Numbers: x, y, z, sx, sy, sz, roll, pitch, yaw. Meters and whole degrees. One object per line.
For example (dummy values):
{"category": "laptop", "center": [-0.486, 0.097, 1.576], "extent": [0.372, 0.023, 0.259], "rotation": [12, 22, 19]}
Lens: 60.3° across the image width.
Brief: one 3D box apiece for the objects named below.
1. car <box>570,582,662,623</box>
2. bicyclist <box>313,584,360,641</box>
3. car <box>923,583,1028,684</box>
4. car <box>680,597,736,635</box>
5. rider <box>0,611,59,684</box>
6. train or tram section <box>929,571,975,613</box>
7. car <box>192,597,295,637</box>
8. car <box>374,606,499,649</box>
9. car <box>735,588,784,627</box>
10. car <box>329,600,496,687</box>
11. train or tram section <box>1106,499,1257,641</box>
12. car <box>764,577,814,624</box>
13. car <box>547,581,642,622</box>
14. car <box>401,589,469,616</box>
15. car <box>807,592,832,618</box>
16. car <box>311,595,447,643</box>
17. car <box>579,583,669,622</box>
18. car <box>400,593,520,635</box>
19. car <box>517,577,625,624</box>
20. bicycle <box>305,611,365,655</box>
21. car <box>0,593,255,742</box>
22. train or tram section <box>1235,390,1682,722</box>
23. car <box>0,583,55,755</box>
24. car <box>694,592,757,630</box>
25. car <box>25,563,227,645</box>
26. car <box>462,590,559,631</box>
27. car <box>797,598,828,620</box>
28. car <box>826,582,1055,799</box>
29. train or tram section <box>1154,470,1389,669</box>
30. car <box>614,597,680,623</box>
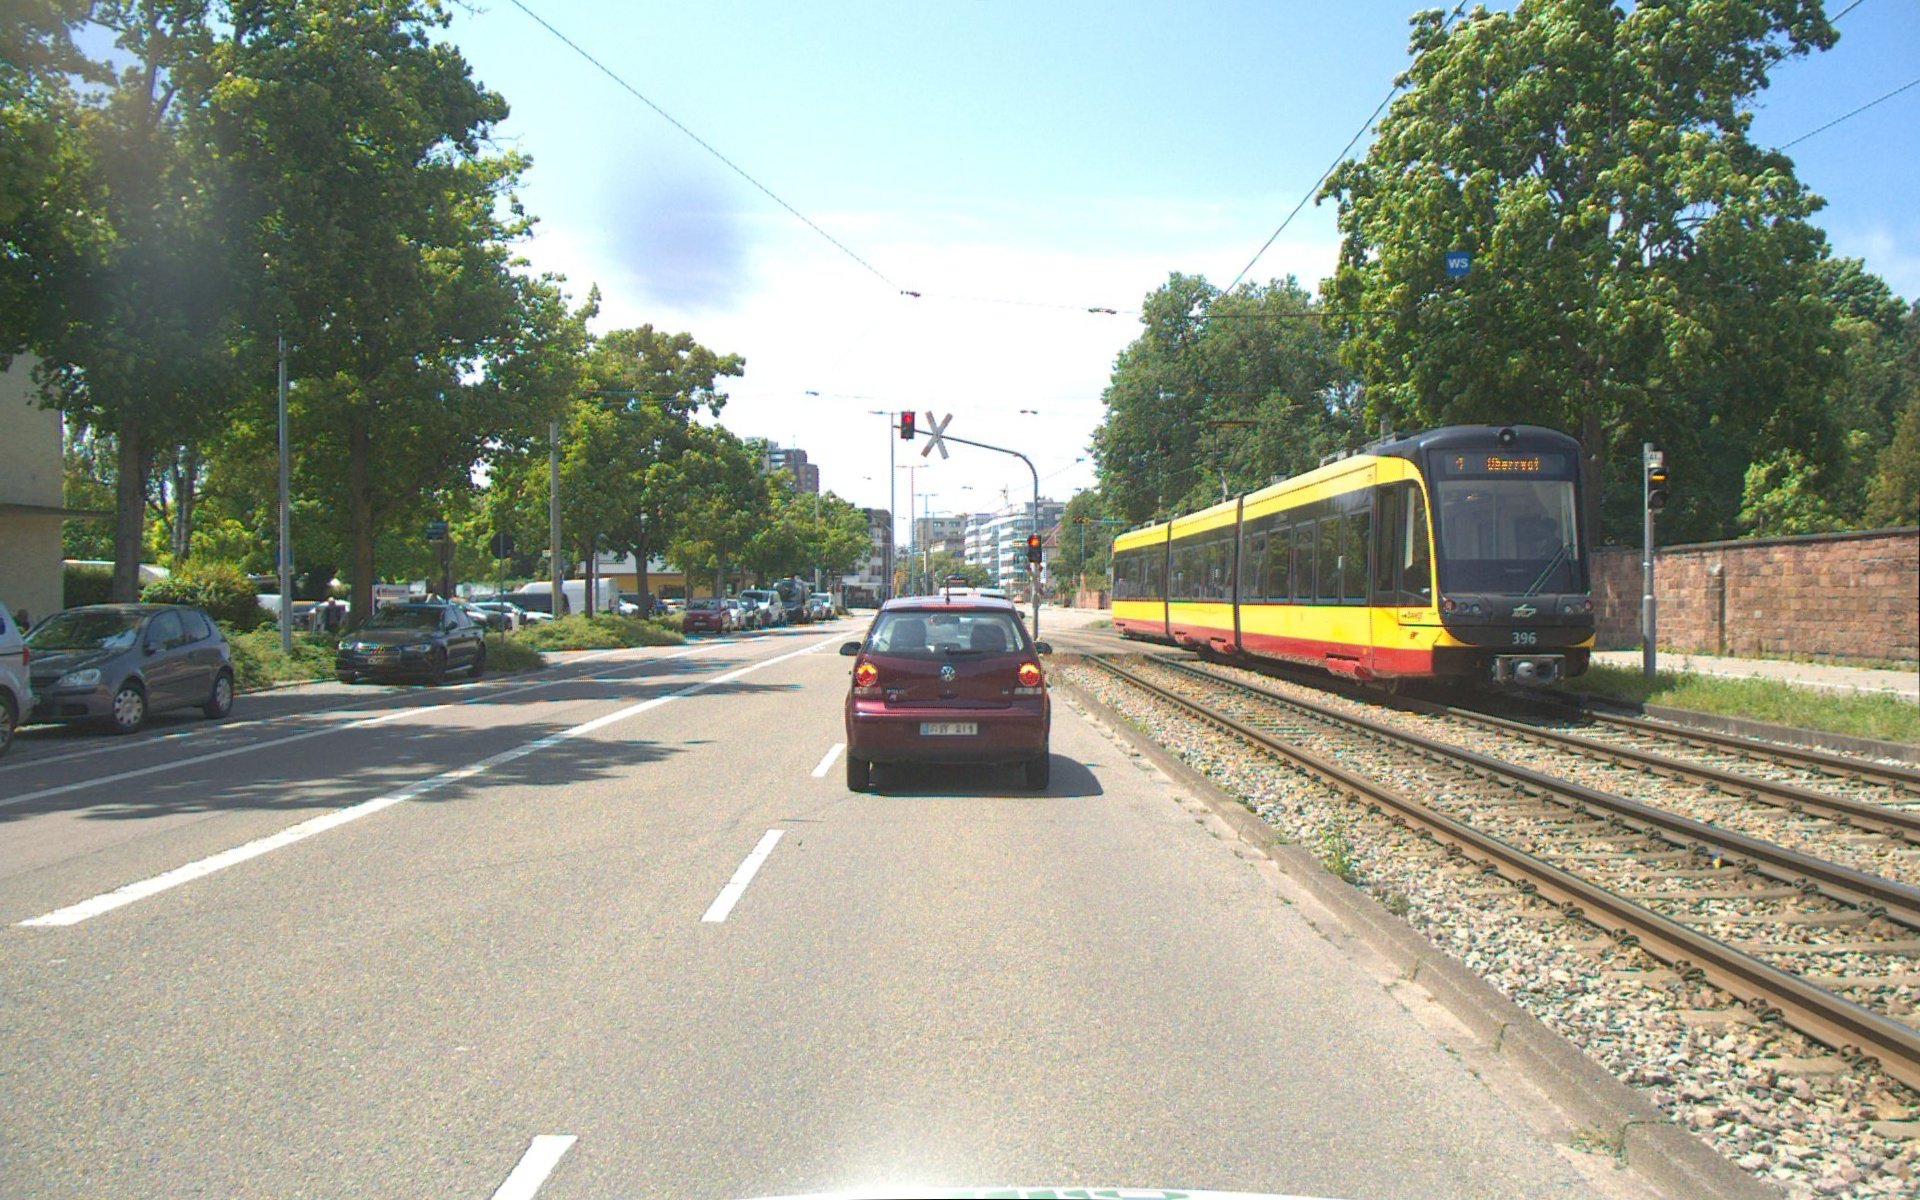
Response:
{"category": "car", "center": [-20.759, 0.151, 99.906], "extent": [4.992, 2.284, 2.378], "rotation": [2, -1, 0]}
{"category": "bicyclist", "center": [-15.509, 0.316, 41.176], "extent": [0.792, 1.398, 0.828], "rotation": [1, -1, 2]}
{"category": "car", "center": [0.222, 0.563, 30.052], "extent": [1.741, 1.676, 3.999], "rotation": [1, 0, -1]}
{"category": "car", "center": [-10.579, 0.675, 69.683], "extent": [1.628, 1.523, 4.000], "rotation": [1, -1, 1]}
{"category": "rider", "center": [-18.476, 0.929, 32.706], "extent": [0.808, 1.398, 0.812], "rotation": [-1, 0, 7]}
{"category": "train or tram section", "center": [-0.813, -0.767, 153.160], "extent": [2.689, 3.672, 12.849], "rotation": [1, 0, -7]}
{"category": "car", "center": [-32.854, 0.783, 75.922], "extent": [3.913, 1.682, 1.812], "rotation": [2, -1, -9]}
{"category": "car", "center": [-20.506, 1.071, 64.915], "extent": [4.251, 1.612, 1.914], "rotation": [-1, 0, 5]}
{"category": "car", "center": [-10.433, 0.410, 86.474], "extent": [1.746, 1.914, 4.787], "rotation": [1, -1, 2]}
{"category": "car", "center": [-10.461, 0.775, 31.934], "extent": [1.781, 1.502, 4.448], "rotation": [1, 0, -1]}
{"category": "train or tram section", "center": [6.635, -0.851, 51.686], "extent": [2.966, 3.864, 12.759], "rotation": [-1, 0, 0]}
{"category": "car", "center": [-10.249, 0.062, 99.521], "extent": [2.313, 2.739, 5.307], "rotation": [1, -1, 0]}
{"category": "car", "center": [-21.466, 0.104, 97.372], "extent": [4.992, 2.284, 2.378], "rotation": [2, -1, 0]}
{"category": "car", "center": [-35.230, 0.183, 110.978], "extent": [3.939, 1.645, 1.816], "rotation": [2, -1, -2]}
{"category": "car", "center": [-10.456, 0.387, 122.798], "extent": [1.740, 1.860, 3.995], "rotation": [2, -1, -6]}
{"category": "car", "center": [-21.004, 0.675, 59.897], "extent": [4.256, 1.612, 1.912], "rotation": [-1, 0, -3]}
{"category": "car", "center": [-20.822, 0.179, 102.583], "extent": [4.992, 2.284, 2.378], "rotation": [2, -1, 0]}
{"category": "car", "center": [-20.413, 0.573, 67.636], "extent": [4.251, 1.612, 1.914], "rotation": [-1, 0, 6]}
{"category": "car", "center": [-20.276, 0.045, 86.337], "extent": [4.992, 2.284, 2.378], "rotation": [2, -1, 0]}
{"category": "bicycle", "center": [-15.537, 0.804, 41.153], "extent": [0.686, 1.048, 1.829], "rotation": [1, -1, 3]}
{"category": "car", "center": [-10.367, 0.724, 20.150], "extent": [1.781, 1.592, 4.180], "rotation": [1, 0, -1]}
{"category": "train or tram section", "center": [6.928, -0.552, 25.907], "extent": [2.966, 3.864, 13.088], "rotation": [-1, 0, 0]}
{"category": "car", "center": [-10.374, 0.692, 14.926], "extent": [1.834, 1.693, 4.780], "rotation": [0, 1, -1]}
{"category": "car", "center": [-10.753, 0.531, 76.231], "extent": [1.934, 1.629, 4.560], "rotation": [1, -1, 4]}
{"category": "car", "center": [-33.156, 0.172, 65.922], "extent": [6.713, 3.017, 2.363], "rotation": [2, -1, -2]}
{"category": "car", "center": [-20.529, 0.479, 75.668], "extent": [3.906, 1.776, 1.998], "rotation": [-1, 0, -2]}
{"category": "car", "center": [-10.397, 0.644, 117.059], "extent": [1.581, 1.466, 4.001], "rotation": [1, -1, 3]}
{"category": "car", "center": [-0.183, 0.654, 14.043], "extent": [1.638, 1.548, 3.999], "rotation": [1, 0, -1]}
{"category": "train or tram section", "center": [6.858, -0.622, 38.871], "extent": [2.966, 3.864, 13.088], "rotation": [-1, 0, 0]}
{"category": "car", "center": [-20.787, 0.665, 109.978], "extent": [3.937, 1.645, 1.816], "rotation": [2, -1, 0]}
